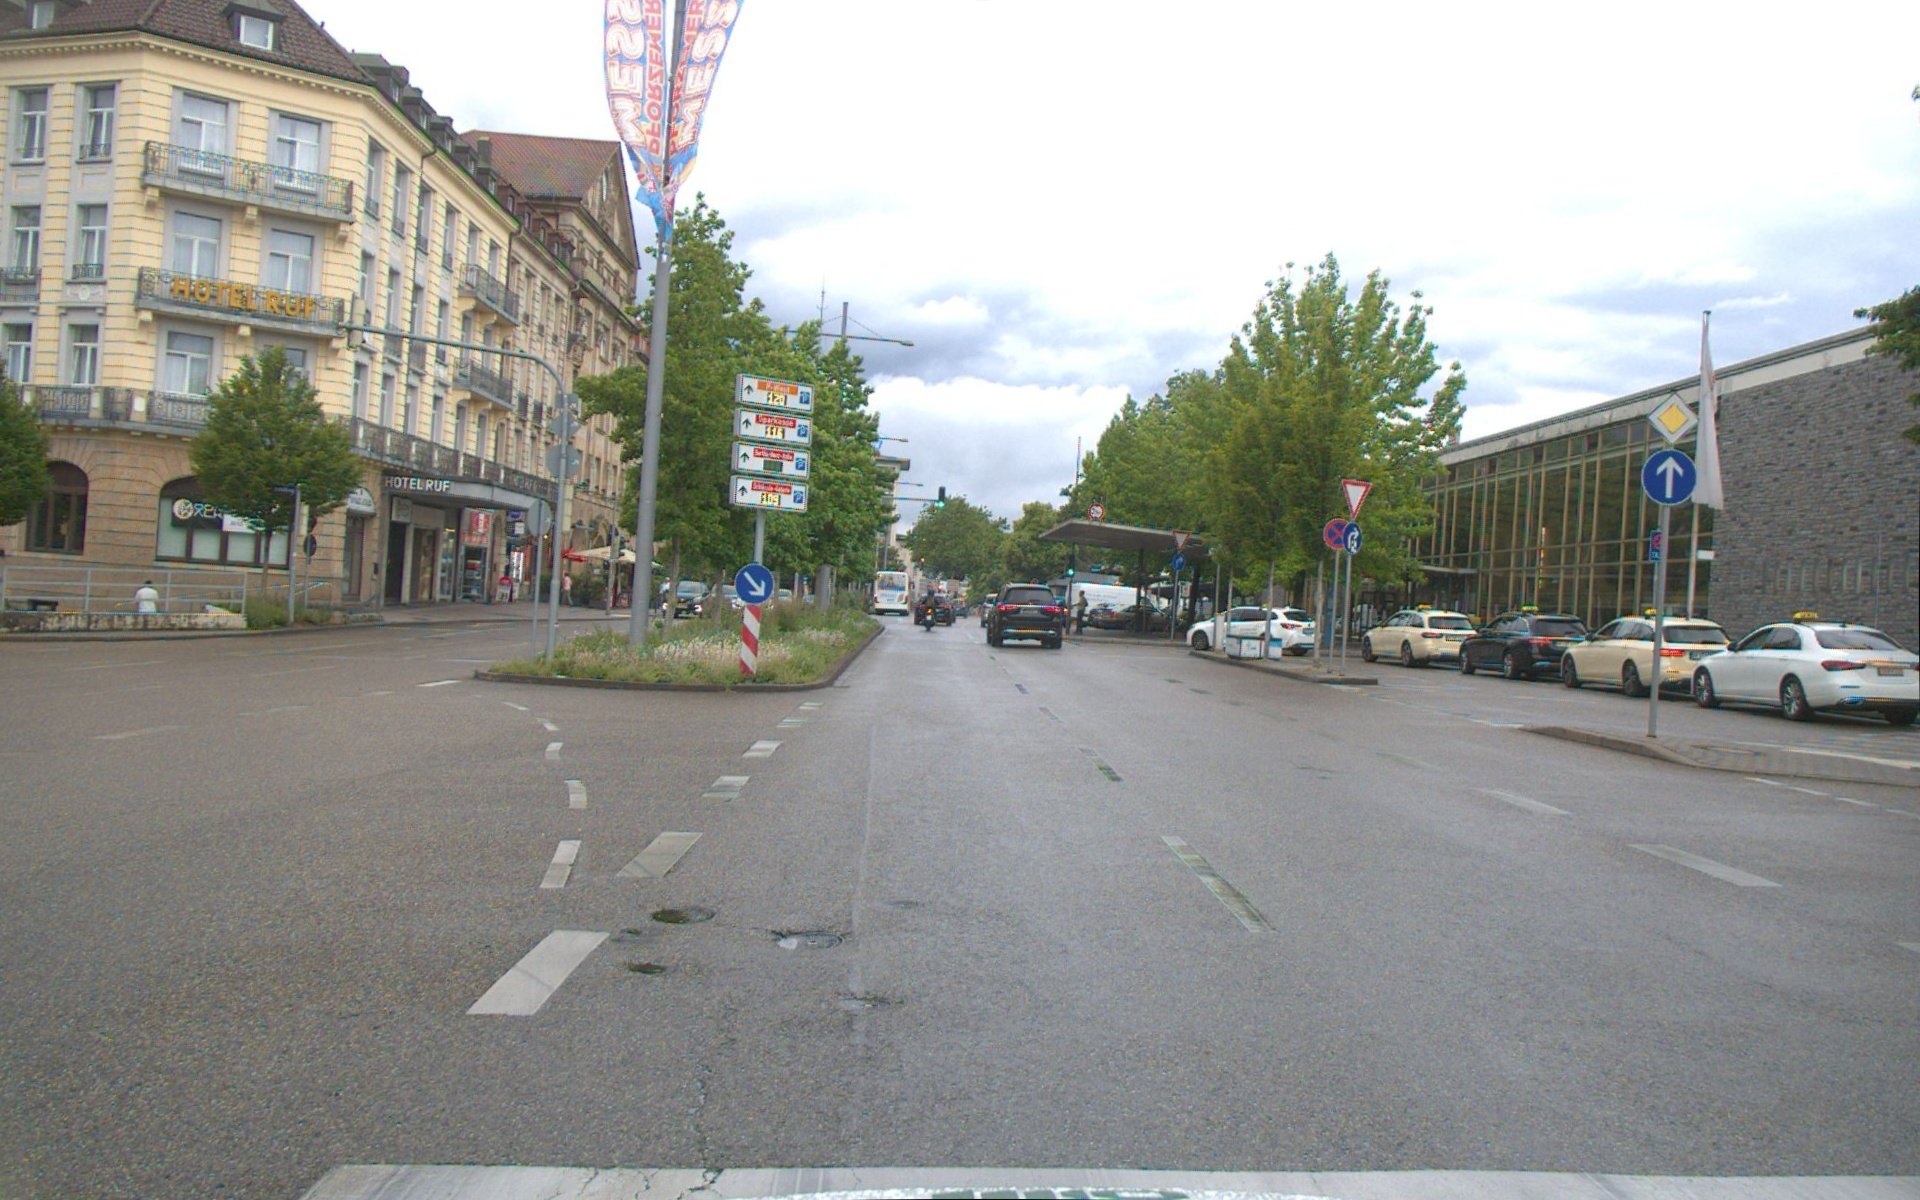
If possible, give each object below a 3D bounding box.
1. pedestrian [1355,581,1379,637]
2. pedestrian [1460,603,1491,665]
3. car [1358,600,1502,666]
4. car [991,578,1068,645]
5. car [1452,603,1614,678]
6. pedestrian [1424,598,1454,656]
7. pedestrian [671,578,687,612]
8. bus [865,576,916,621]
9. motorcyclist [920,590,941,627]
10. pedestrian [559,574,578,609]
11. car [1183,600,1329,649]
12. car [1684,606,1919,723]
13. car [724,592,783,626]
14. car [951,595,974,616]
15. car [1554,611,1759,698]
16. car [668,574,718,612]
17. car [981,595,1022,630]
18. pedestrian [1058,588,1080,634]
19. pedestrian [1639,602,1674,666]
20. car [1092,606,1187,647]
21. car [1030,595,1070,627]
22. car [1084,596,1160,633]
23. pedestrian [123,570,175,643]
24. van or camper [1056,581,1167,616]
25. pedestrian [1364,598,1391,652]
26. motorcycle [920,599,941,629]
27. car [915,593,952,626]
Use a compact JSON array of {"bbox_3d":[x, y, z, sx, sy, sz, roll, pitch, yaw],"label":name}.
[{"bbox_3d":[18.187,0.397,73.858,0.825,2.453,0.862,1,0,1],"label":"pedestrian"},{"bbox_3d":[14.831,0.977,47.594,0.553,1.739,0.715,2,0,-6],"label":"pedestrian"},{"bbox_3d":[12.549,0.849,44.472,1.956,1.628,4.814,1,0,-8],"label":"car"},{"bbox_3d":[1.987,0.315,48.632,1.953,1.837,4.689,1,0,-1],"label":"car"},{"bbox_3d":[13.050,0.883,37.995,1.875,1.551,4.740,1,0,-3],"label":"car"},{"bbox_3d":[17.173,0.945,59.335,0.754,2.049,0.828,1,0,-3],"label":"pedestrian"},{"bbox_3d":[-14.593,-0.266,85.843,0.661,1.731,0.633,1,0,-1],"label":"pedestrian"},{"bbox_3d":[-5.428,-0.116,129.917,3.685,3.265,15.519,1,0,-2],"label":"bus"},{"bbox_3d":[-1.117,0.311,62.762,0.749,1.355,0.866,2,0,-1],"label":"motorcyclist"},{"bbox_3d":[-17.558,-0.382,74.169,0.656,1.537,0.512,1,0,-39],"label":"pedestrian"},{"bbox_3d":[9.105,0.739,51.198,1.764,1.409,4.303,1,0,-41],"label":"car"},{"bbox_3d":[13.370,0.945,26.058,1.739,1.617,4.614,1,0,-2],"label":"car"},{"bbox_3d":[-8.870,0.367,71.468,1.688,1.406,4.861,1,0,3],"label":"car"},{"bbox_3d":[0.166,0.400,123.714,1.673,1.500,3.999,1,0,-1],"label":"car"},{"bbox_3d":[13.240,0.988,31.774,1.809,1.477,4.664,1,0,-2],"label":"car"},{"bbox_3d":[-11.502,-0.293,71.472,1.736,1.557,4.075,1,0,-4],"label":"car"},{"bbox_3d":[1.976,0.592,79.721,1.813,1.594,3.999,1,0,-1],"label":"car"},{"bbox_3d":[4.388,0.444,66.616,0.705,1.822,0.663,2,0,-12],"label":"pedestrian"},{"bbox_3d":[18.401,0.898,43.690,0.553,1.675,0.715,1,0,-6],"label":"pedestrian"},{"bbox_3d":[8.940,1.302,82.390,4.273,1.890,1.988,2,0,-21],"label":"car"},{"bbox_3d":[4.618,0.543,85.454,1.779,1.557,3.999,1,0,-1],"label":"car"},{"bbox_3d":[9.465,0.846,96.775,3.929,2.049,1.988,2,0,-21],"label":"car"},{"bbox_3d":[-21.793,0.180,44.485,0.845,1.911,1.022,2,0,-1],"label":"pedestrian"},{"bbox_3d":[9.478,-0.086,103.009,6.675,2.049,2.364,1,-1,-27],"label":"van or camper"},{"bbox_3d":[15.949,0.948,63.181,0.754,2.049,0.828,1,0,-3],"label":"pedestrian"},{"bbox_3d":[-1.115,0.529,62.736,0.750,1.095,2.175,2,0,-1],"label":"motorcycle"},{"bbox_3d":[-1.240,0.443,77.579,1.673,1.473,3.999,1,0,-1],"label":"car"}]
